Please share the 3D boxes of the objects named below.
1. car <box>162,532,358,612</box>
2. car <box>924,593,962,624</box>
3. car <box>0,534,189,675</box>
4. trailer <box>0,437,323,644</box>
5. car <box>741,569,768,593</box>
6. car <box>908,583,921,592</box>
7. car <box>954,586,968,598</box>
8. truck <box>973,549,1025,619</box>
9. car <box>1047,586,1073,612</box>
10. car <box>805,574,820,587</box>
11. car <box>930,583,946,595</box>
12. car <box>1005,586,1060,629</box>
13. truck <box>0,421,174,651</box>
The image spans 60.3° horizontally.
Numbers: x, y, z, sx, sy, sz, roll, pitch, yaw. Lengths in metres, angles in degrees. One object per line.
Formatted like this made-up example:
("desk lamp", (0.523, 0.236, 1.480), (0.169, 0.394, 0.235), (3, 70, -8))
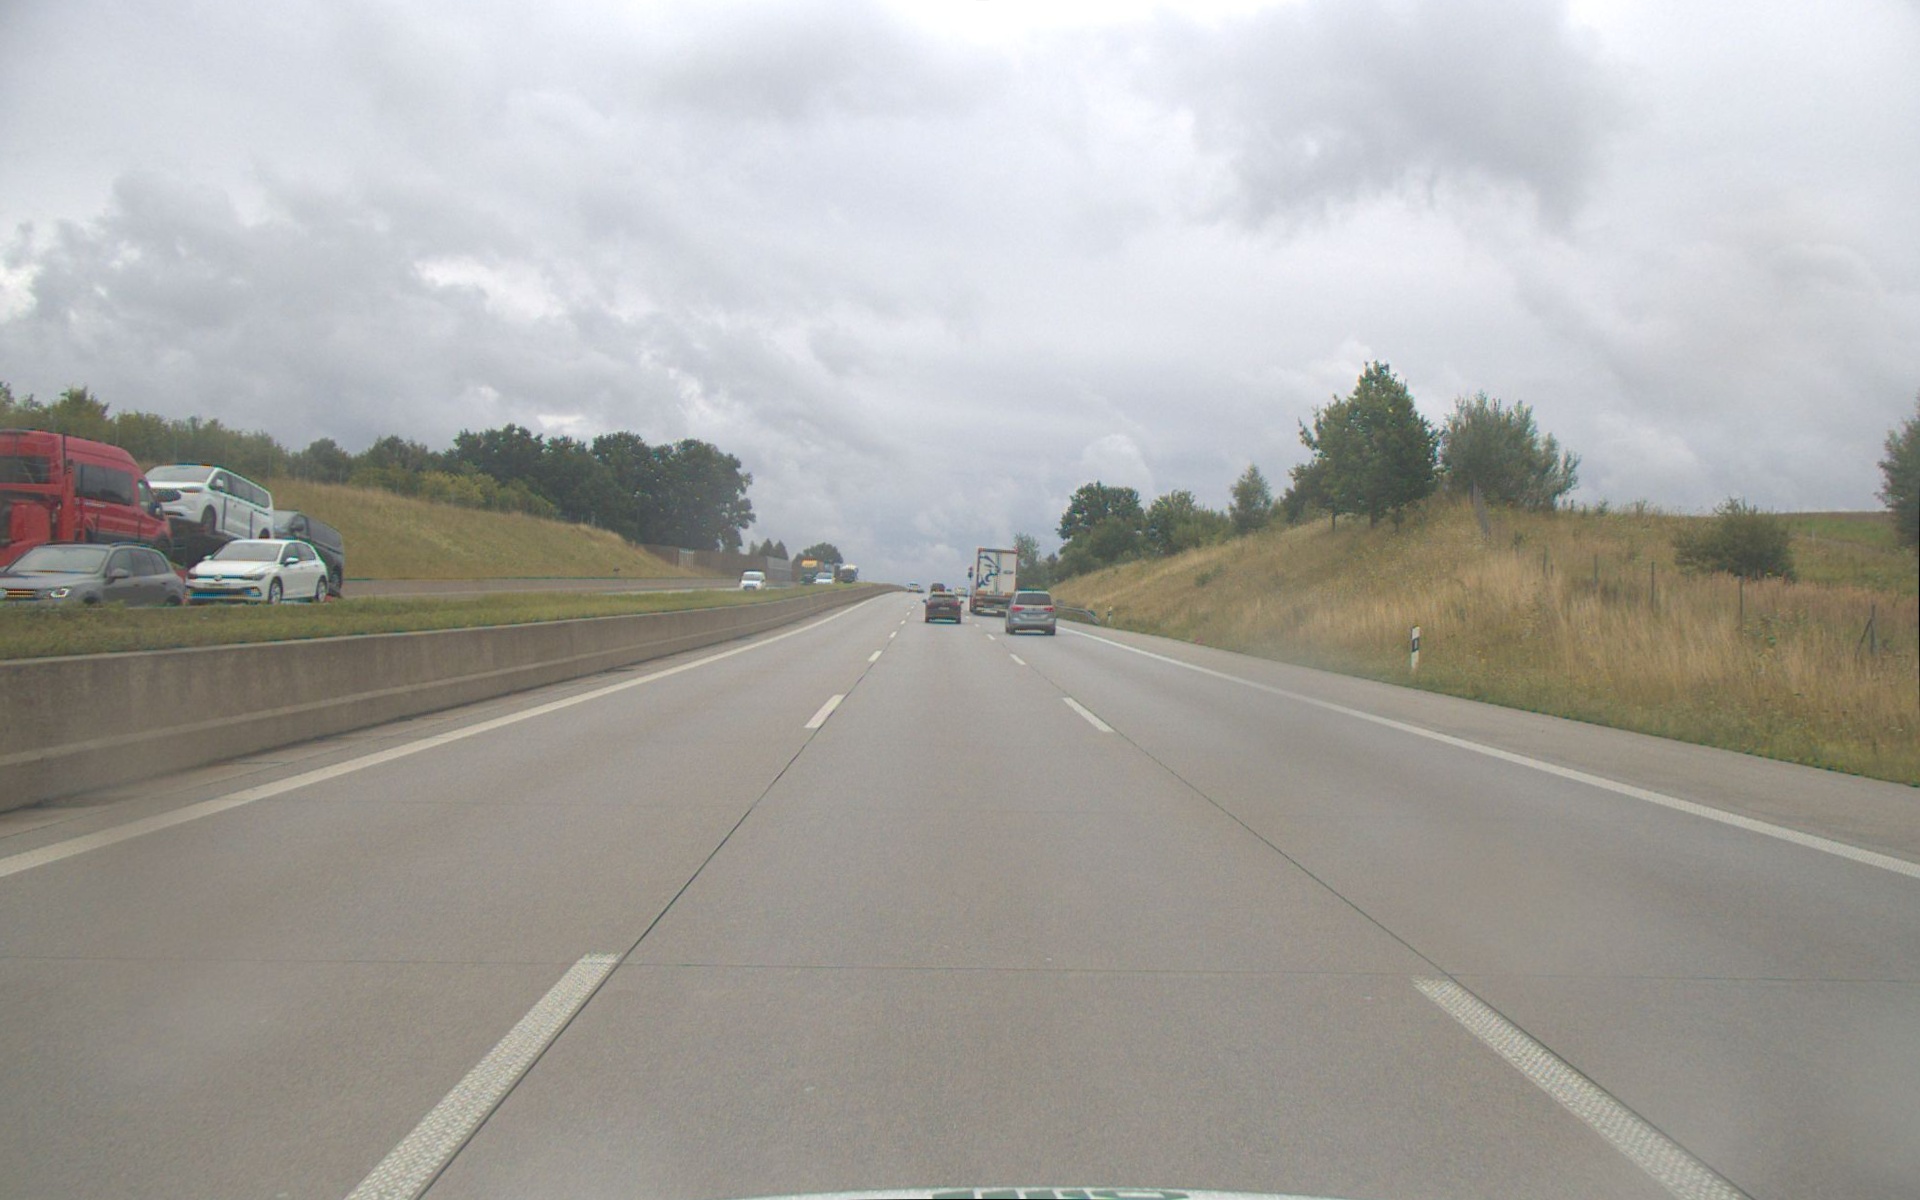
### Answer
("car", (-15.333, -0.615, 36.607), (2.105, 1.578, 5.349), (2, 1, -1))
("car", (-0.835, 0.439, 79.087), (1.717, 1.423, 4.482), (1, -1, -2))
("car", (-14.967, 0.036, 27.021), (2.105, 2.049, 5.747), (1, 0, -1))
("trailer", (-19.758, -1.271, 41.639), (2.501, 4.291, 13.982), (1, 0, -2))
("car", (-16.763, -1.546, 134.741), (1.726, 1.892, 3.999), (1, 0, -1))
("car", (-7.098, -1.908, 258.652), (1.907, 1.379, 4.259), (1, 0, 0))
("car", (0.145, -1.174, 241.612), (1.952, 1.669, 4.000), (1, -1, 1))
("truck", (2.424, -0.947, 105.219), (2.956, 4.254, 8.352), (1, -1, -1))
("car", (8.058, -0.049, 133.522), (1.952, 2.049, 4.000), (1, -1, 1))
("car", (-22.229, -2.910, 249.154), (1.953, 1.870, 3.999), (1, 0, -1))
("car", (-2.857, -1.392, 212.262), (1.895, 1.399, 4.594), (2, -2, 1))
("car", (2.730, 0.267, 62.996), (1.952, 1.557, 4.001), (1, 0, 1))
("truck", (-19.431, -1.249, 34.753), (2.501, 4.326, 7.459), (1, 0, -3))
